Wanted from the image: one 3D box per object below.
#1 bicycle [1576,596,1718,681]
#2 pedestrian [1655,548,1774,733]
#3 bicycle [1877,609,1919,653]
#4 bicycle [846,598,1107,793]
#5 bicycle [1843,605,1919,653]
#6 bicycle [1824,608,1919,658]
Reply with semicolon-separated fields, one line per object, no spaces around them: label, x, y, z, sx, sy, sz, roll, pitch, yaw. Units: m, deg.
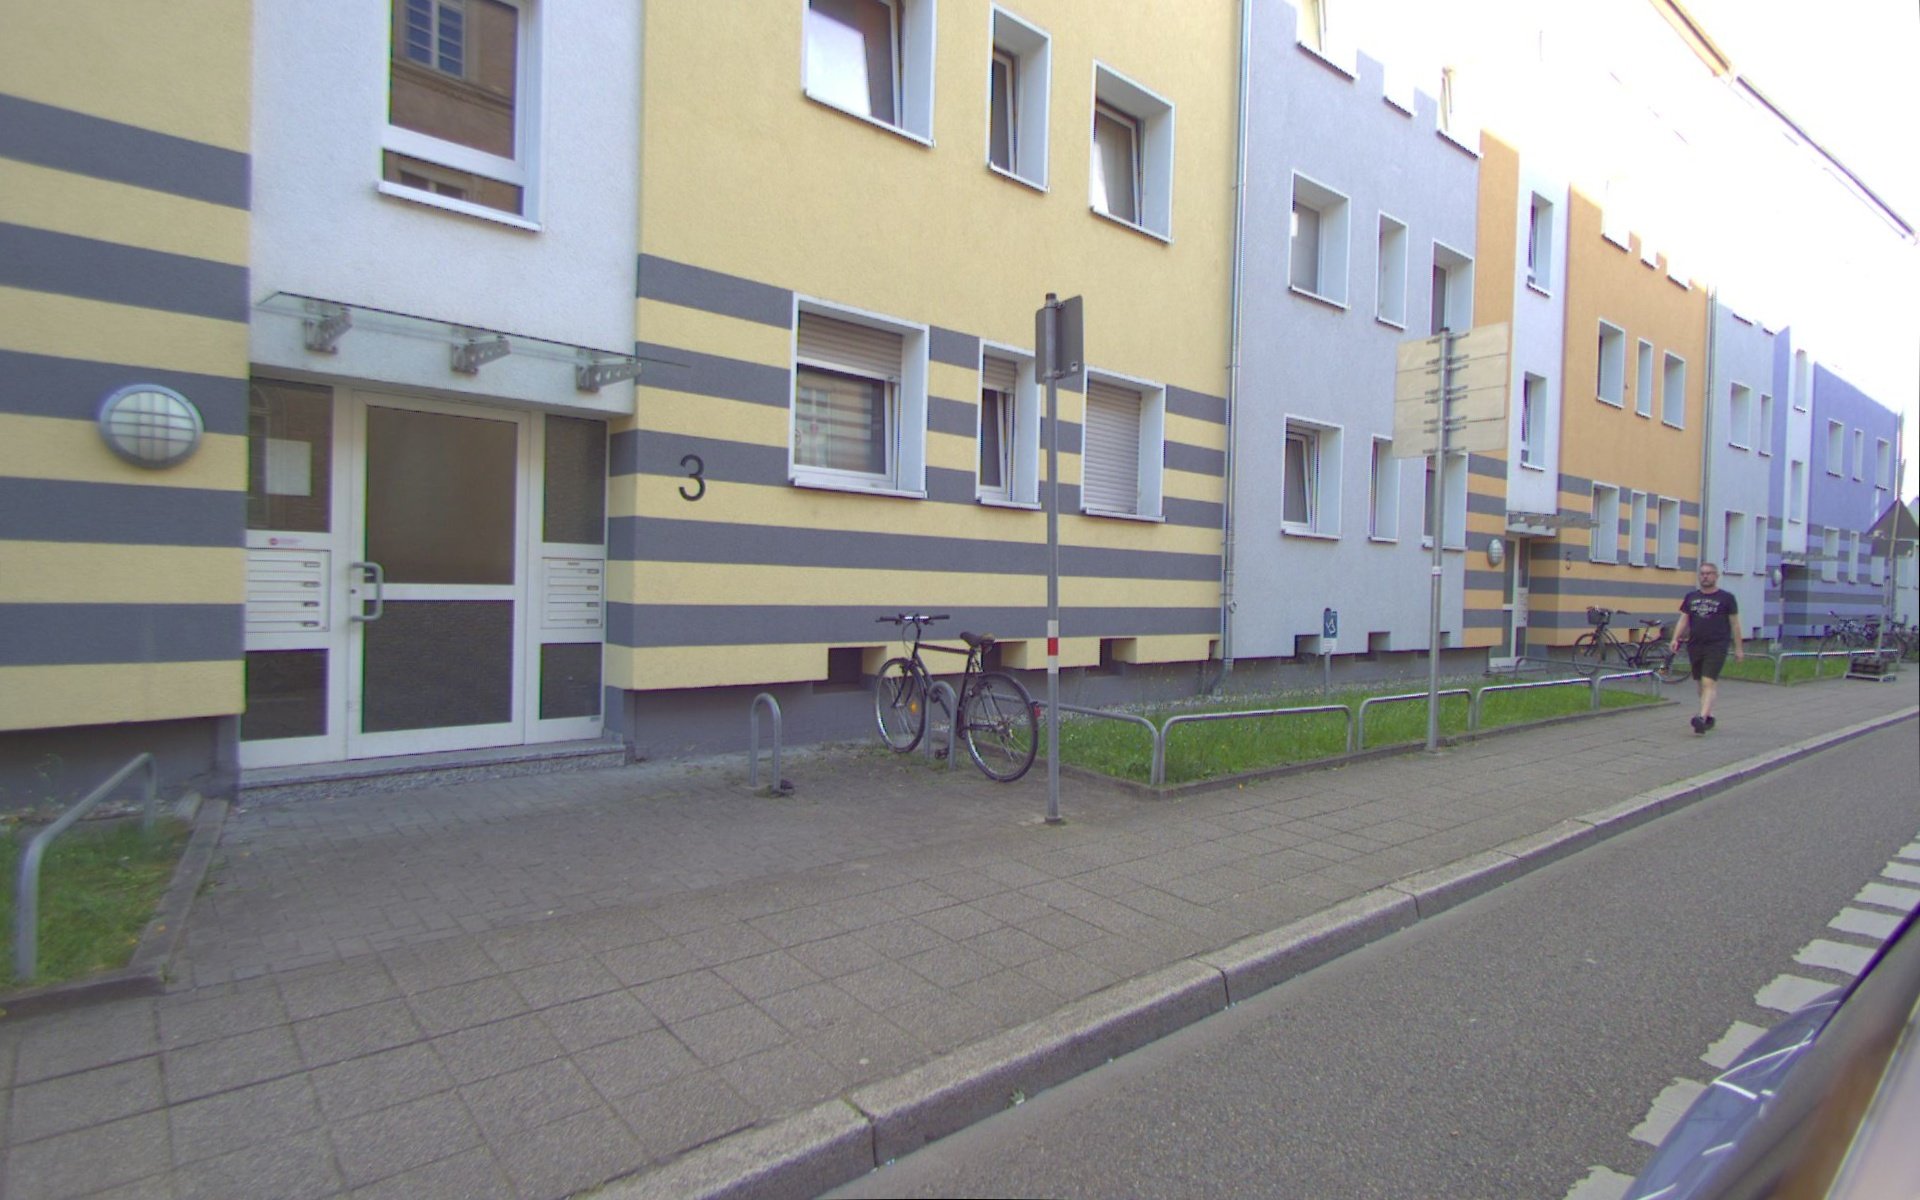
bicycle;10.744;0.576;15.873;0.625;1.173;1.709;1;3;-42
pedestrian;7.857;0.396;10.542;0.898;1.810;0.646;1;4;-38
bicycle;24.172;0.811;25.346;0.625;1.048;1.709;1;3;-42
bicycle;0.049;0.580;7.054;0.625;1.074;1.946;1;3;-42
bicycle;23.254;0.720;25.271;0.625;1.095;1.711;1;2;-40
bicycle;22.283;0.789;24.677;0.624;1.058;1.711;1;2;-39
